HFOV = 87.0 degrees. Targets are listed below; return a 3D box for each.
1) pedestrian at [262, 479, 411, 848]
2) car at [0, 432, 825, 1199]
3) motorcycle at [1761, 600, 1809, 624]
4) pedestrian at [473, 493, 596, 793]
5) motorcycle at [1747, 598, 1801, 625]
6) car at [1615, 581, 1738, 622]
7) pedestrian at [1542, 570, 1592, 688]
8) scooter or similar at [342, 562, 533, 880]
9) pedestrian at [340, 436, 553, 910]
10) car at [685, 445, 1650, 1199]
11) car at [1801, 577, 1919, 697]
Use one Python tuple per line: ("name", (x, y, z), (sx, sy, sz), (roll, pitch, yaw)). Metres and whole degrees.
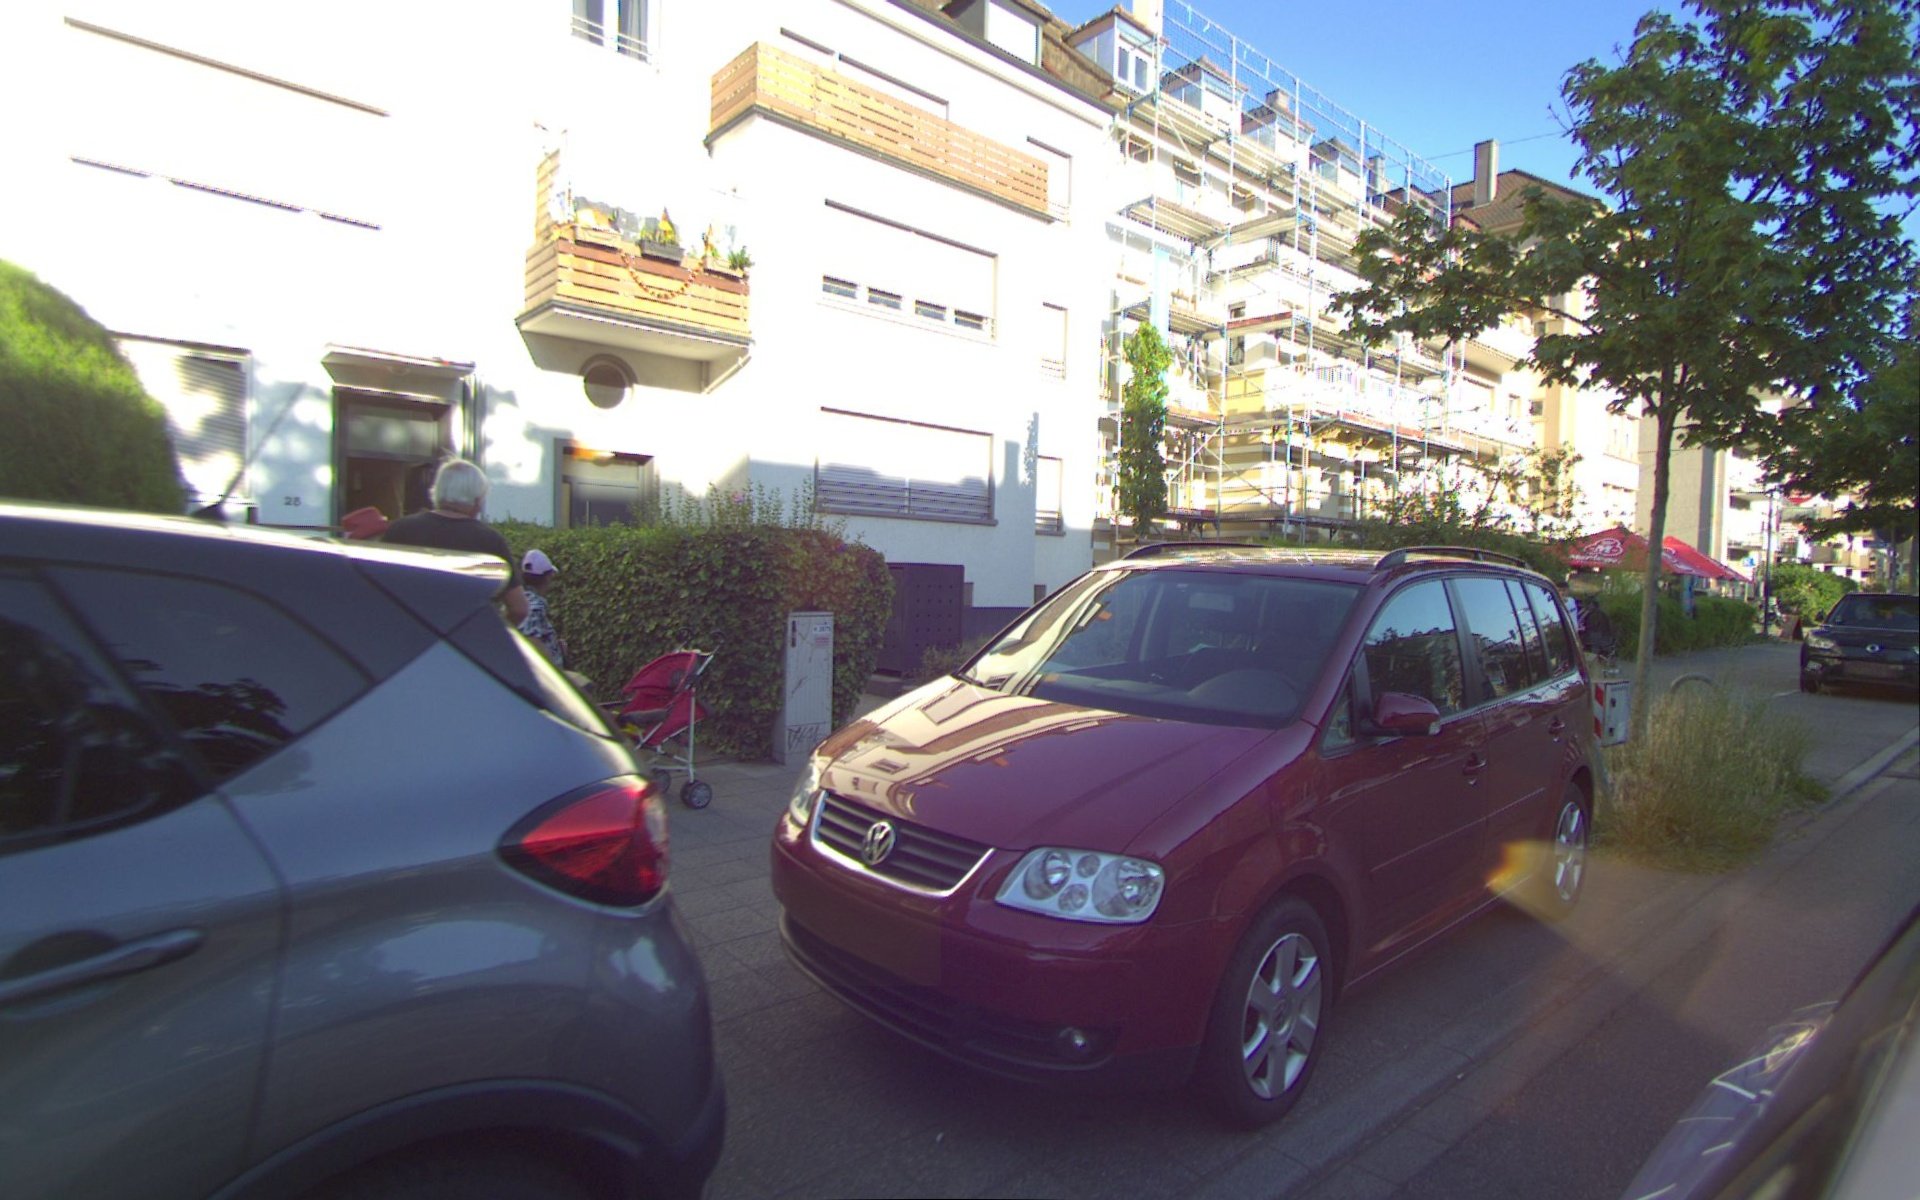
("pedestrian", (-3.128, 0.290, 5.078), (0.510, 1.718, 0.519), (2, 1, 45))
("car", (-2.265, 0.573, 1.072), (3.930, 1.587, 1.640), (0, 3, -41))
("motorcycle", (39.841, 0.564, 48.894), (0.584, 1.125, 1.697), (0, 1, -40))
("pedestrian", (-2.590, 0.241, 6.157), (0.510, 1.718, 0.519), (2, 1, 45))
("motorcycle", (38.902, 0.518, 48.384), (1.980, 1.215, 0.764), (2, 1, 37))
("car", (36.586, 0.026, 51.770), (1.920, 1.888, 4.835), (-2, 3, -42))
("pedestrian", (8.486, 0.390, 14.158), (0.553, 1.587, 0.740), (2, 1, 31))
("scooter or similar", (-2.470, 0.499, 4.760), (0.707, 1.333, 0.749), (1, 1, -34))
("pedestrian", (-2.252, 0.284, 4.433), (0.749, 1.872, 0.550), (1, 1, -34))
("car", (1.321, 0.496, 4.269), (4.521, 1.676, 1.723), (0, 1, -44))
("car", (14.812, 0.526, 15.937), (3.960, 1.652, 1.795), (0, 3, -42))
